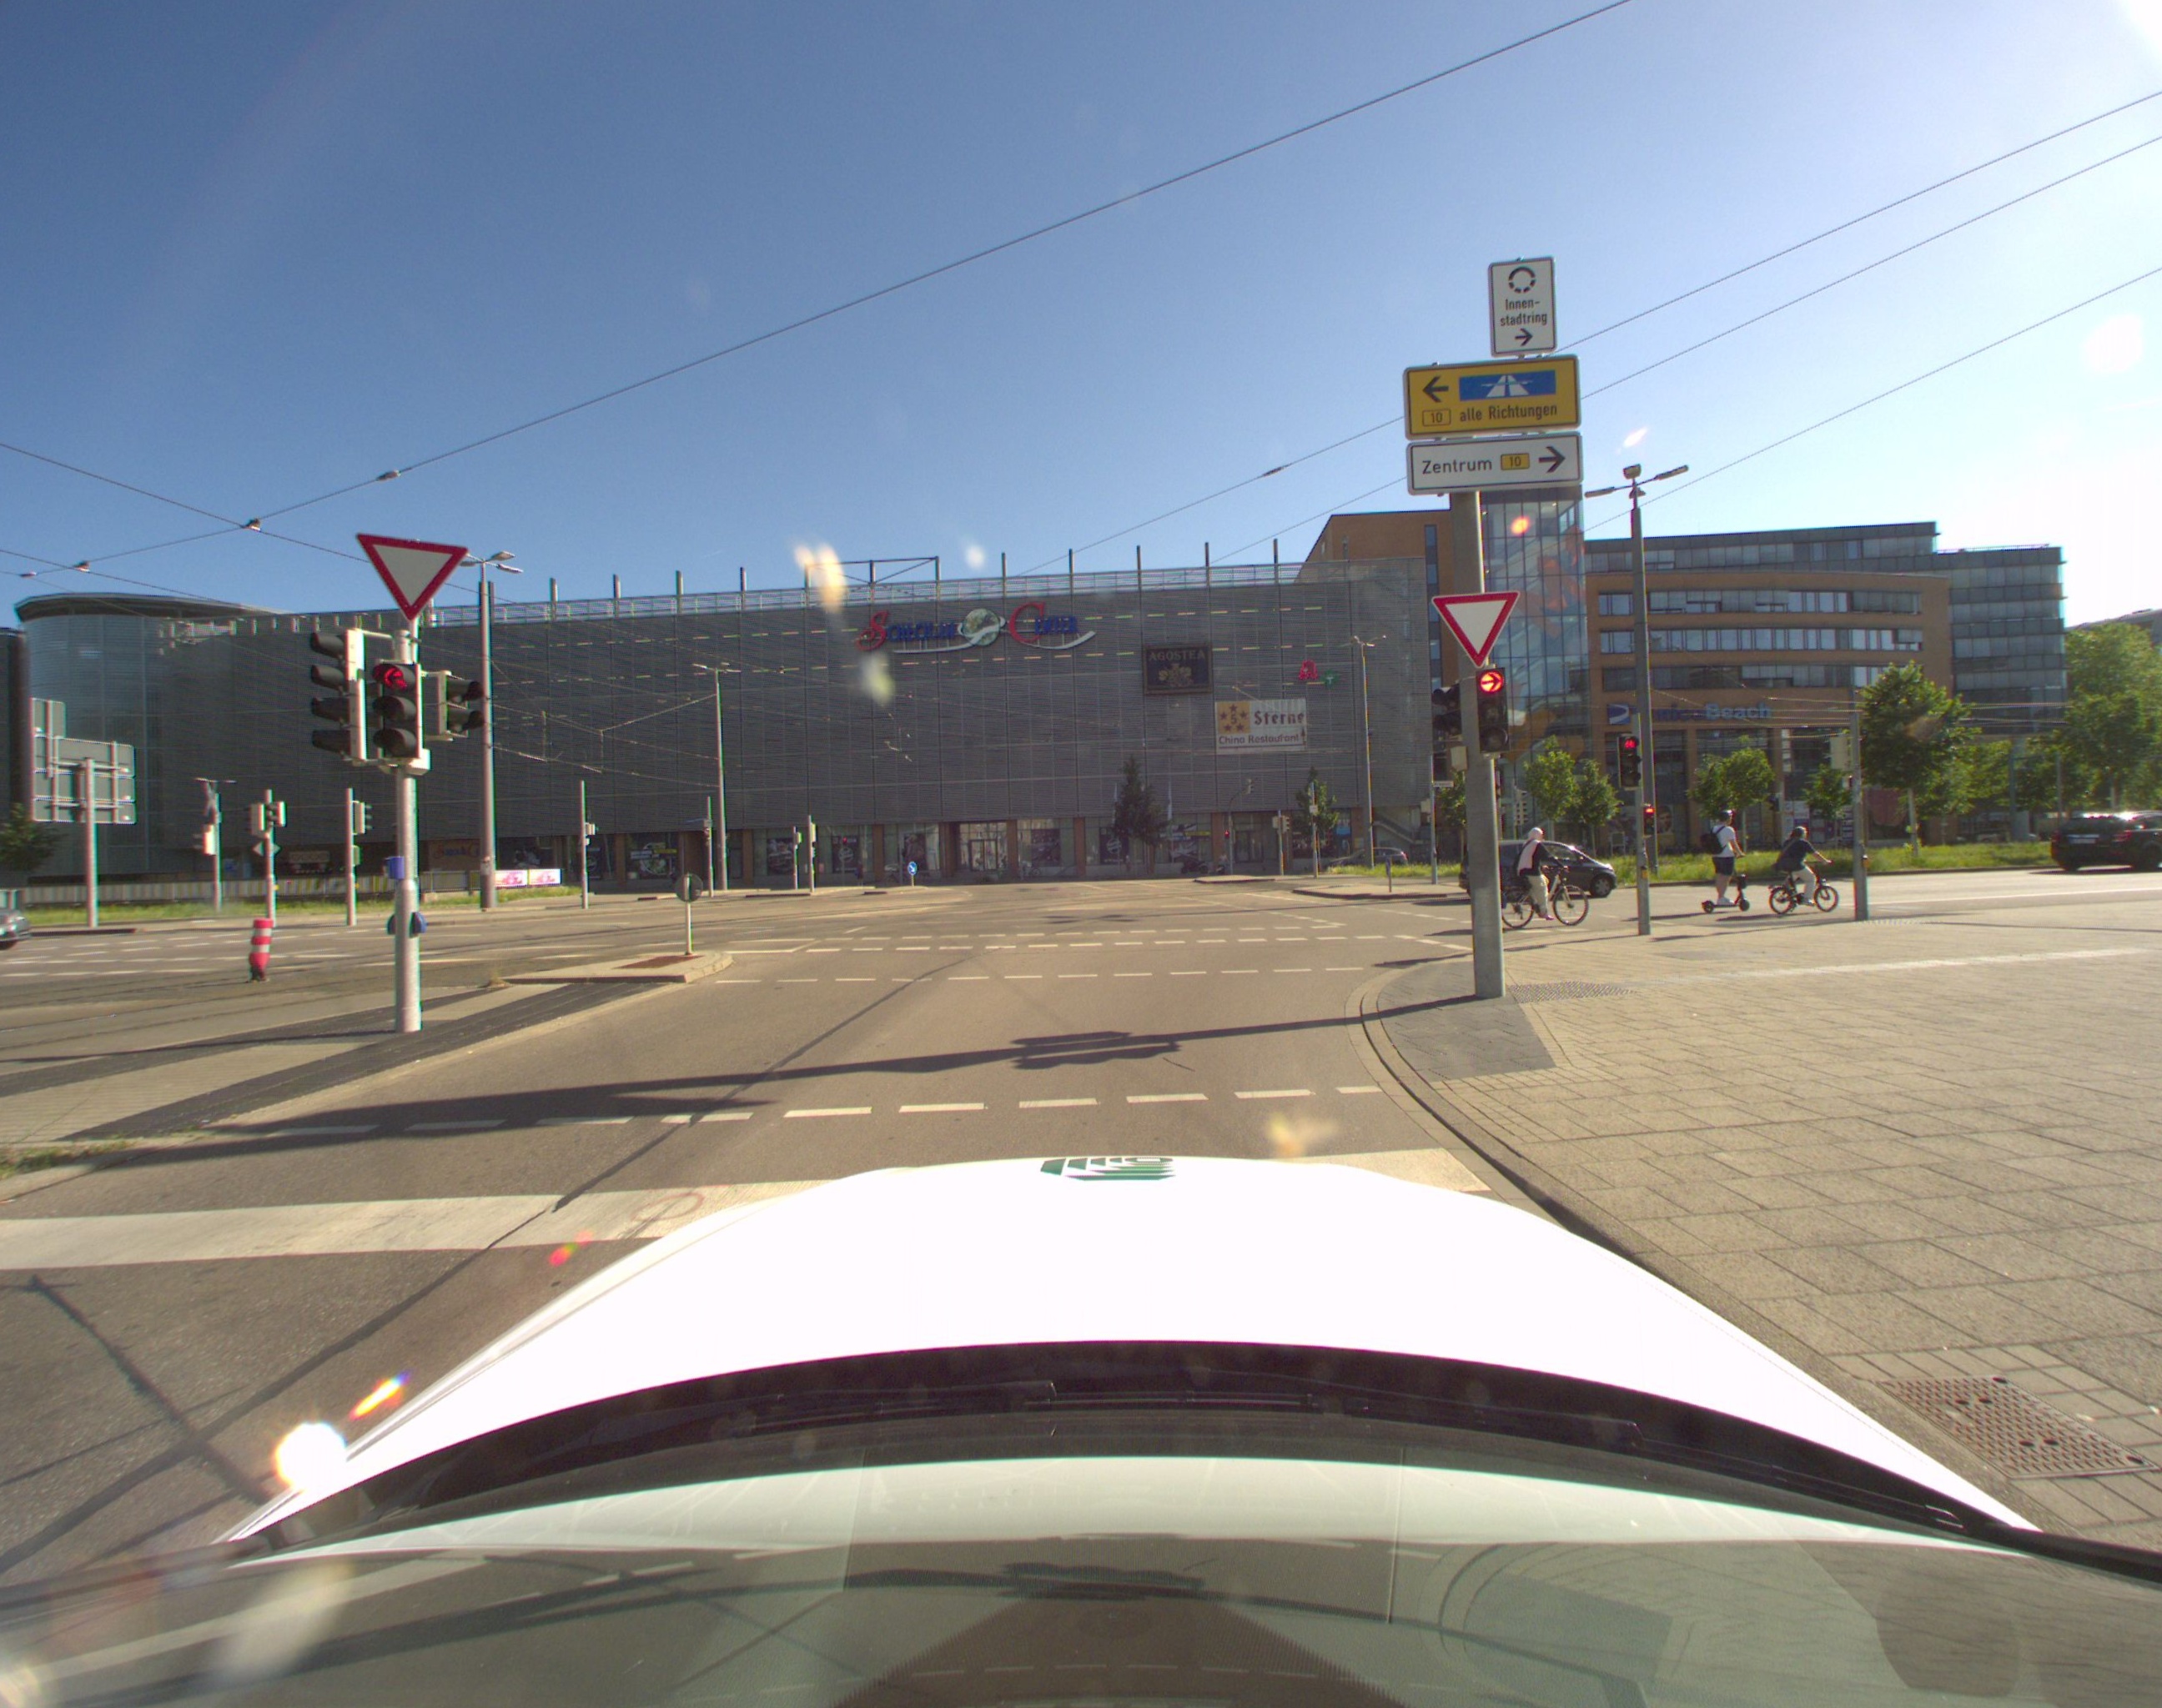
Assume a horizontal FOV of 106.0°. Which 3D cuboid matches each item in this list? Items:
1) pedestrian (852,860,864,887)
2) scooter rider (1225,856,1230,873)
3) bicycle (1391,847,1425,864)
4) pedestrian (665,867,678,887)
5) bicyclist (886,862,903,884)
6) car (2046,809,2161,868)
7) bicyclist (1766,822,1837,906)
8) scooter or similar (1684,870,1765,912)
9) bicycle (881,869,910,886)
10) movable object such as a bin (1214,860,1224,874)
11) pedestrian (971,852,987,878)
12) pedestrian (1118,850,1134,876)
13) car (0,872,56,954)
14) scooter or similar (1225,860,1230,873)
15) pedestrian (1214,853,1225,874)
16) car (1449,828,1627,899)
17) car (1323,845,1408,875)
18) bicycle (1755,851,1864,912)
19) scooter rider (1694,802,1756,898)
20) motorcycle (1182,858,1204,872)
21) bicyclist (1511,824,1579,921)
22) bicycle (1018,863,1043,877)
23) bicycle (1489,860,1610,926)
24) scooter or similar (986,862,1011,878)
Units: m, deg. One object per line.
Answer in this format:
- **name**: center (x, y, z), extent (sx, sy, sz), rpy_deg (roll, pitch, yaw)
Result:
- **pedestrian**: center (-15.204, 1.309, 55.458), extent (0.695, 1.797, 0.727), rpy_deg (-3, 0, -14)
- **scooter rider**: center (9.906, 0.704, 54.945), extent (0.286, 1.200, 0.387), rpy_deg (-1, -1, 12)
- **bicycle**: center (24.342, 0.110, 60.615), extent (2.247, 1.296, 0.606), rpy_deg (0, -1, 0)
- **pedestrian**: center (-32.073, 1.788, 63.778), extent (0.654, 1.601, 0.597), rpy_deg (-1, -1, 20)
- **bicyclist**: center (-12.630, 1.273, 55.234), extent (0.667, 1.427, 0.855), rpy_deg (-1, 2, 45)
- **car**: center (31.219, -0.483, 24.072), extent (4.186, 1.646, 1.641), rpy_deg (-2, 0, -11)
- **bicyclist**: center (13.907, 0.188, 15.732), extent (0.882, 1.566, 0.572), rpy_deg (0, -1, -8)
- **scooter or similar**: center (12.871, 0.733, 16.306), extent (1.208, 0.786, 0.613), rpy_deg (0, -1, -9)
- **bicycle**: center (-12.586, 1.584, 55.307), extent (0.562, 1.086, 1.874), rpy_deg (-1, 2, 45)
- **movable object such as a bin**: center (9.270, 0.880, 54.736), extent (0.608, 0.904, 0.972), rpy_deg (-1, -1, 12)
- **pedestrian**: center (-7.535, 0.815, 60.228), extent (0.945, 1.828, 0.848), rpy_deg (-3, 0, 7)
- **pedestrian**: center (3.308, 0.655, 59.366), extent (1.007, 1.828, 1.037), rpy_deg (-3, 0, 5)
- **car**: center (-23.405, 1.229, 15.736), extent (4.842, 1.572, 1.706), rpy_deg (-2, 0, -2)
- **scooter or similar**: center (9.919, 0.868, 55.004), extent (0.293, 0.873, 1.007), rpy_deg (-1, -1, 12)
- **pedestrian**: center (9.404, 0.629, 55.199), extent (0.650, 1.414, 0.853), rpy_deg (-1, -1, 12)
- **car**: center (11.658, 0.229, 20.885), extent (3.683, 1.646, 1.644), rpy_deg (-2, 0, -5)
- **car**: center (15.881, 0.346, 45.616), extent (4.132, 1.470, 1.841), rpy_deg (2, -1, 0)
- **bicycle**: center (14.073, 0.516, 15.743), extent (1.753, 1.137, 0.585), rpy_deg (0, -1, -9)
- **scooter rider**: center (12.890, -0.078, 16.313), extent (0.783, 1.872, 0.572), rpy_deg (0, -1, -8)
- **motorcycle**: center (8.311, 0.829, 60.592), extent (1.630, 1.004, 0.448), rpy_deg (0, 0, 8)
- **bicyclist**: center (8.371, 0.327, 14.719), extent (0.881, 1.707, 0.573), rpy_deg (0, -1, -5)
- **bicycle**: center (-3.783, 1.173, 60.787), extent (1.815, 0.989, 0.556), rpy_deg (-2, 1, -8)
- **bicycle**: center (8.424, 0.688, 14.679), extent (1.897, 1.137, 0.580), rpy_deg (-1, -1, -5)
- **scooter or similar**: center (-6.185, 1.203, 61.228), extent (1.790, 1.066, 0.611), rpy_deg (-2, 1, -6)
